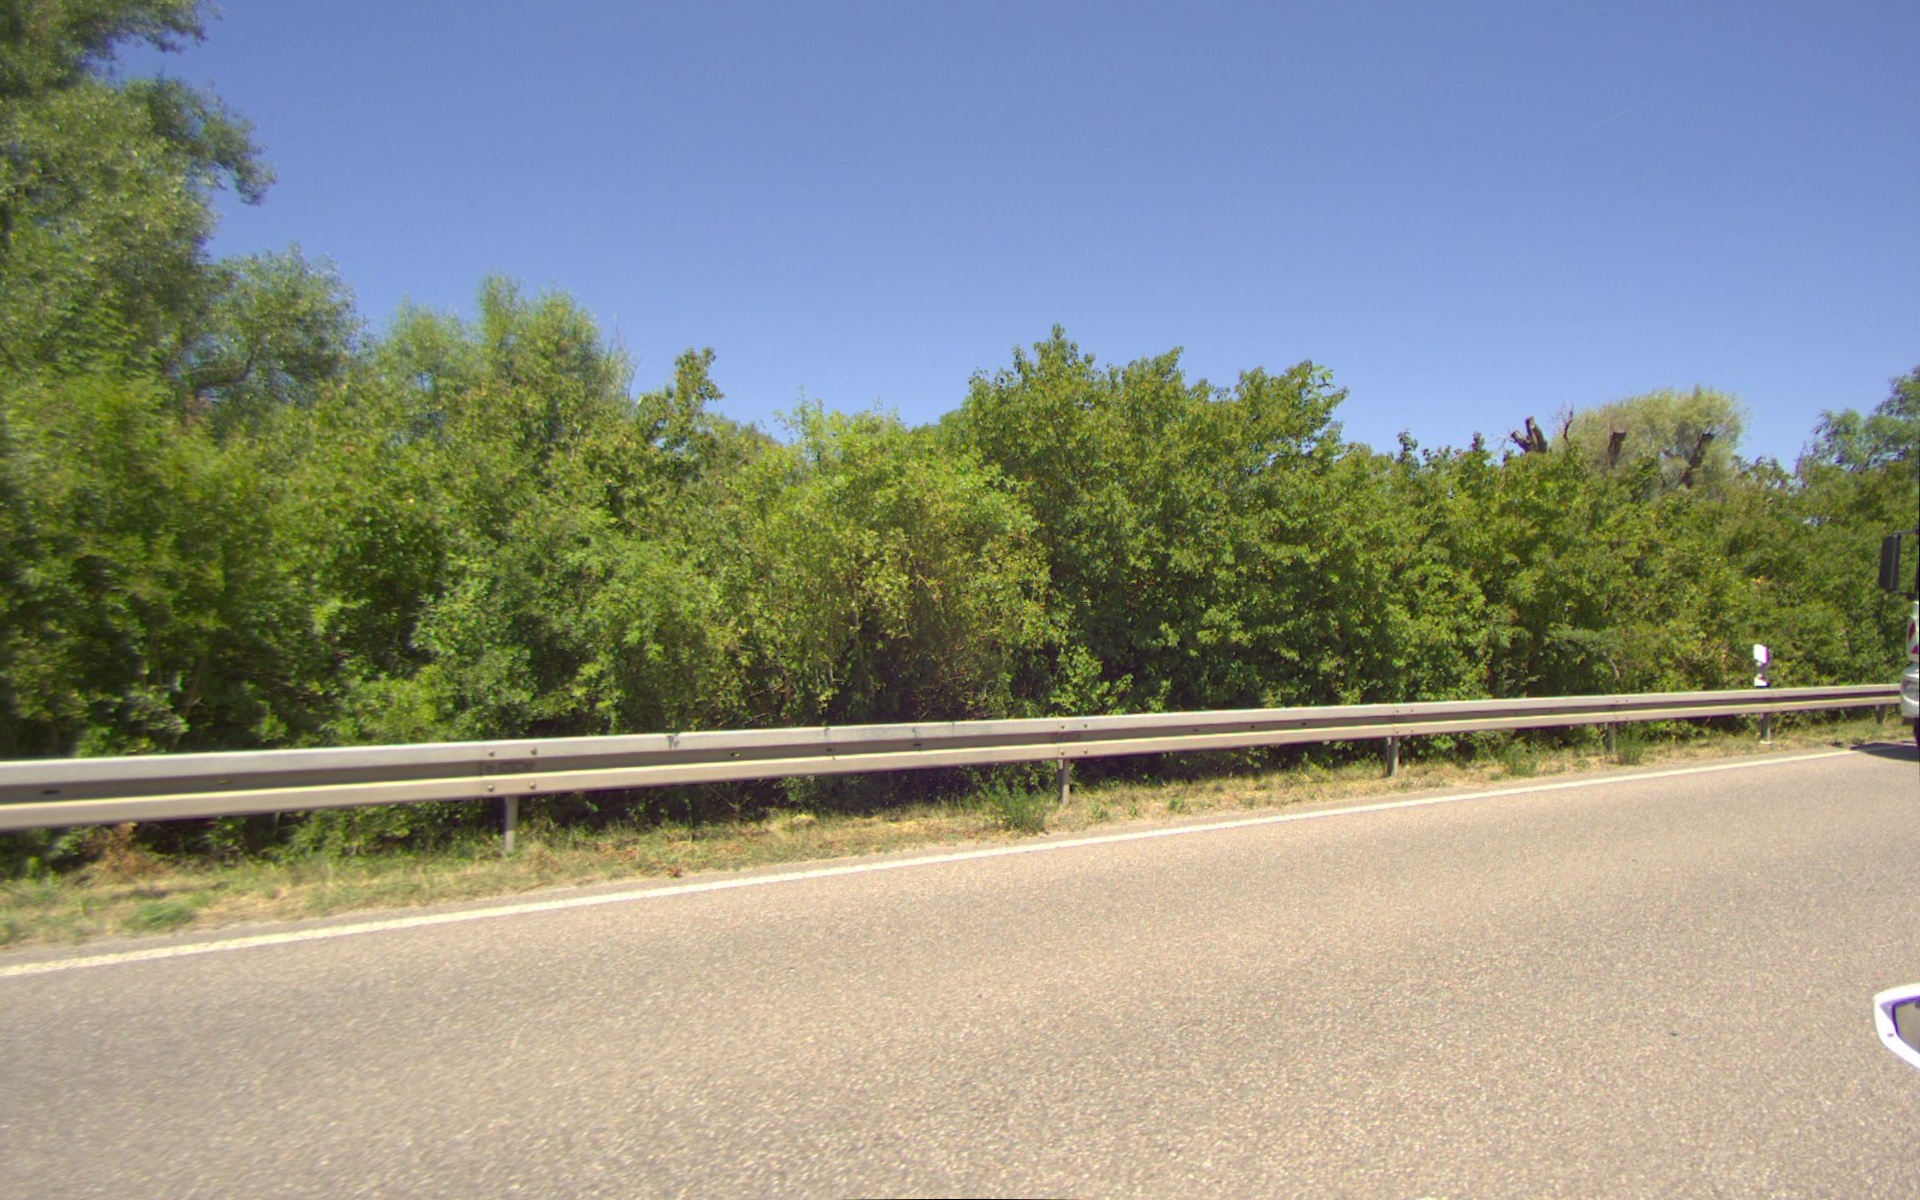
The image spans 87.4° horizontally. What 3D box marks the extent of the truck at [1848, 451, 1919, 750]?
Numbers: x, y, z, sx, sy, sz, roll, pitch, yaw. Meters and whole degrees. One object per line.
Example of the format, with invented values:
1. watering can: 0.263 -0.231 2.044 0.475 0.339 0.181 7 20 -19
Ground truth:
1. truck: 14.852 0.100 12.952 7.896 3.450 2.770 1 0 -31
